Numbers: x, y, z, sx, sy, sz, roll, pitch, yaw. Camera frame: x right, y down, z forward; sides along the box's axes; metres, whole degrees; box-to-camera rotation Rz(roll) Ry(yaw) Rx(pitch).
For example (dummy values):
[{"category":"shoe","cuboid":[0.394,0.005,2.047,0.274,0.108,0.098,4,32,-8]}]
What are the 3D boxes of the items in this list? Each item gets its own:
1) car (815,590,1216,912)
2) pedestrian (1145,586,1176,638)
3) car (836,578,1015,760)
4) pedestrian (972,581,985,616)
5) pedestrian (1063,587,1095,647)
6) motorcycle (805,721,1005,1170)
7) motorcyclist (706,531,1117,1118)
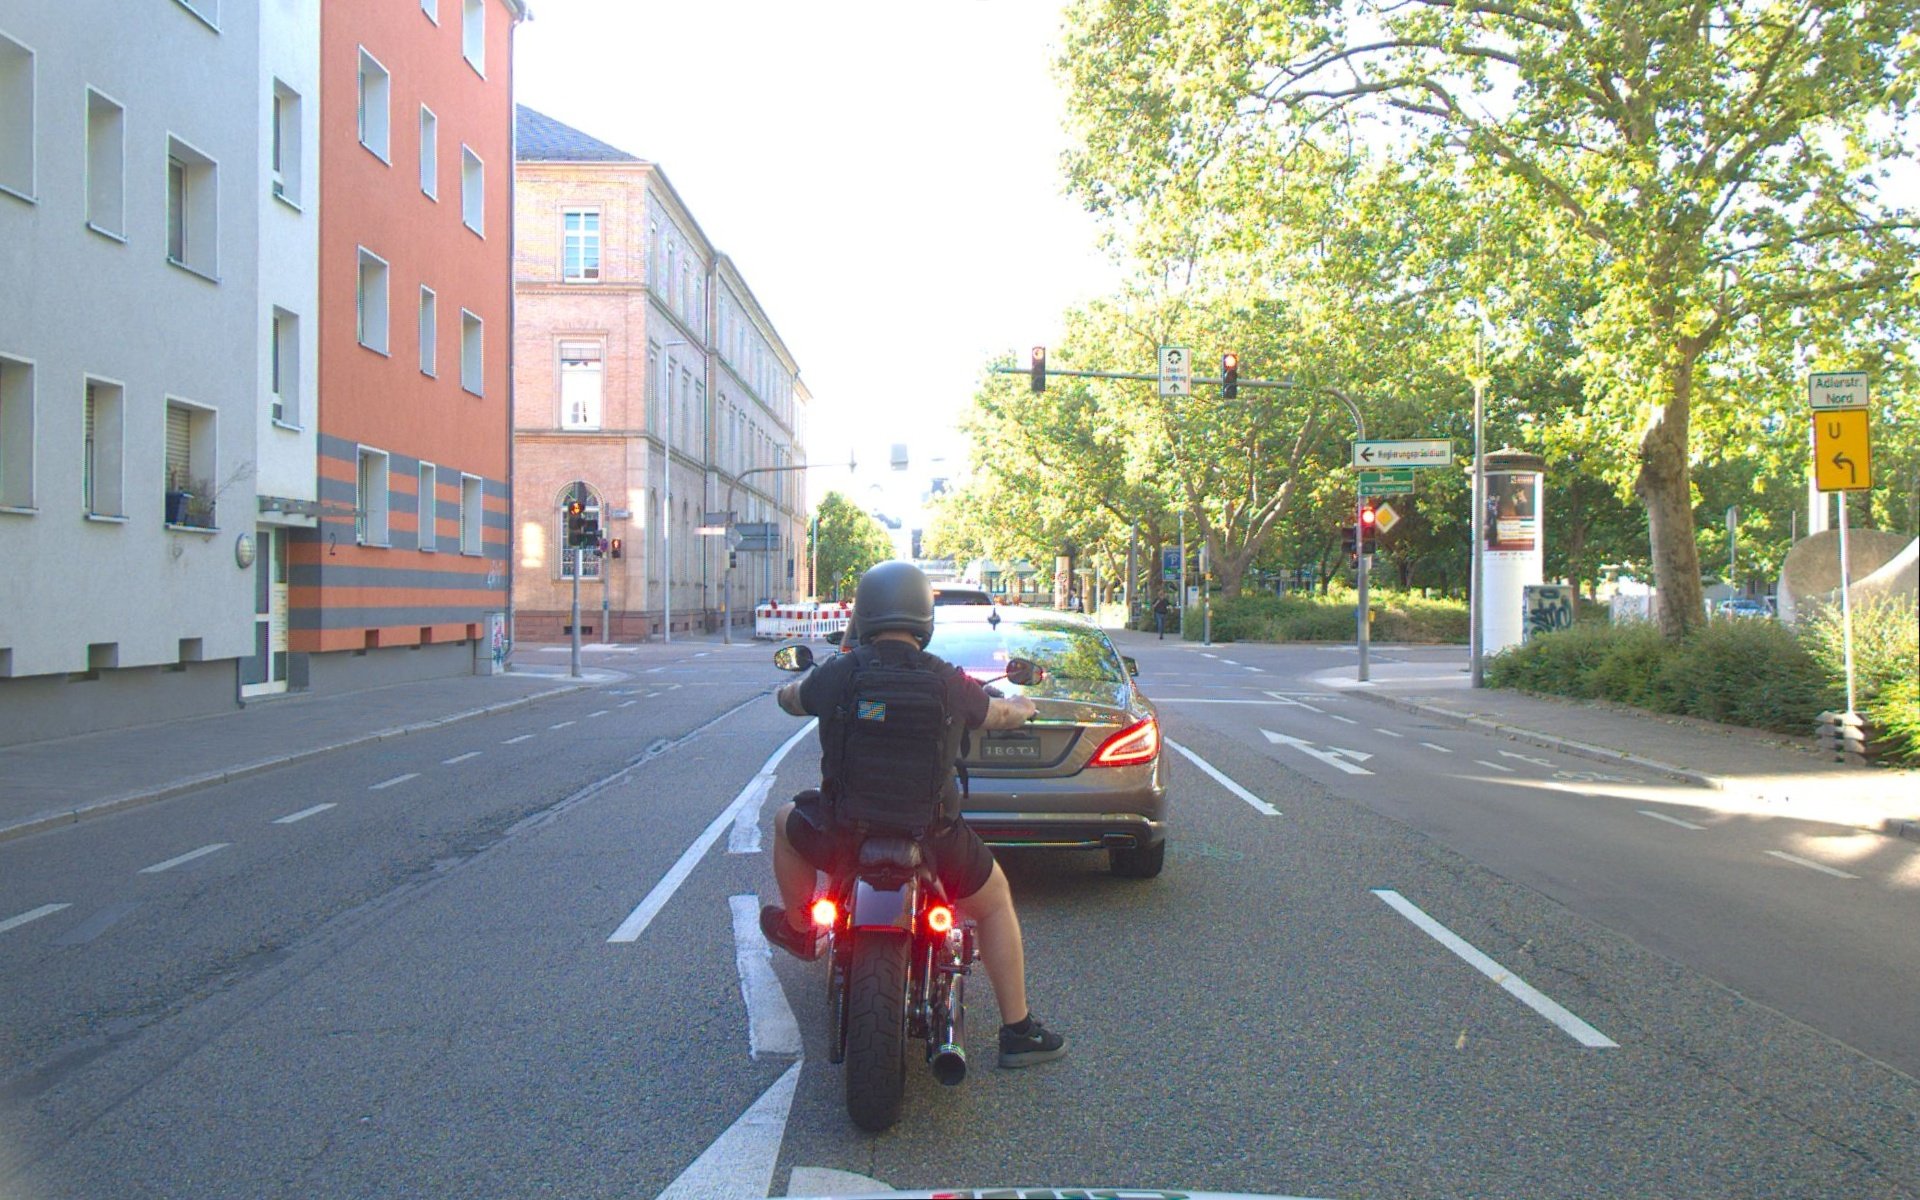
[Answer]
[{"category":"car","cuboid":[0.234,0.695,9.620,1.844,1.475,3.819,1,0,-1]},{"category":"pedestrian","cuboid":[7.528,0.440,62.098,0.741,1.943,0.917,1,-1,-29]},{"category":"car","cuboid":[-0.332,0.607,16.728,1.588,1.622,3.999,0,0,-1]},{"category":"pedestrian","cuboid":[1.123,-0.089,100.874,0.748,2.087,0.712,1,-1,-1]},{"category":"pedestrian","cuboid":[3.801,0.535,52.667,0.980,1.858,1.077,1,0,5]},{"category":"motorcycle","cuboid":[-0.156,0.970,5.304,0.503,1.020,2.013,1,0,-1]},{"category":"motorcyclist","cuboid":[-0.142,0.632,5.280,1.125,1.626,1.288,1,0,-1]}]
